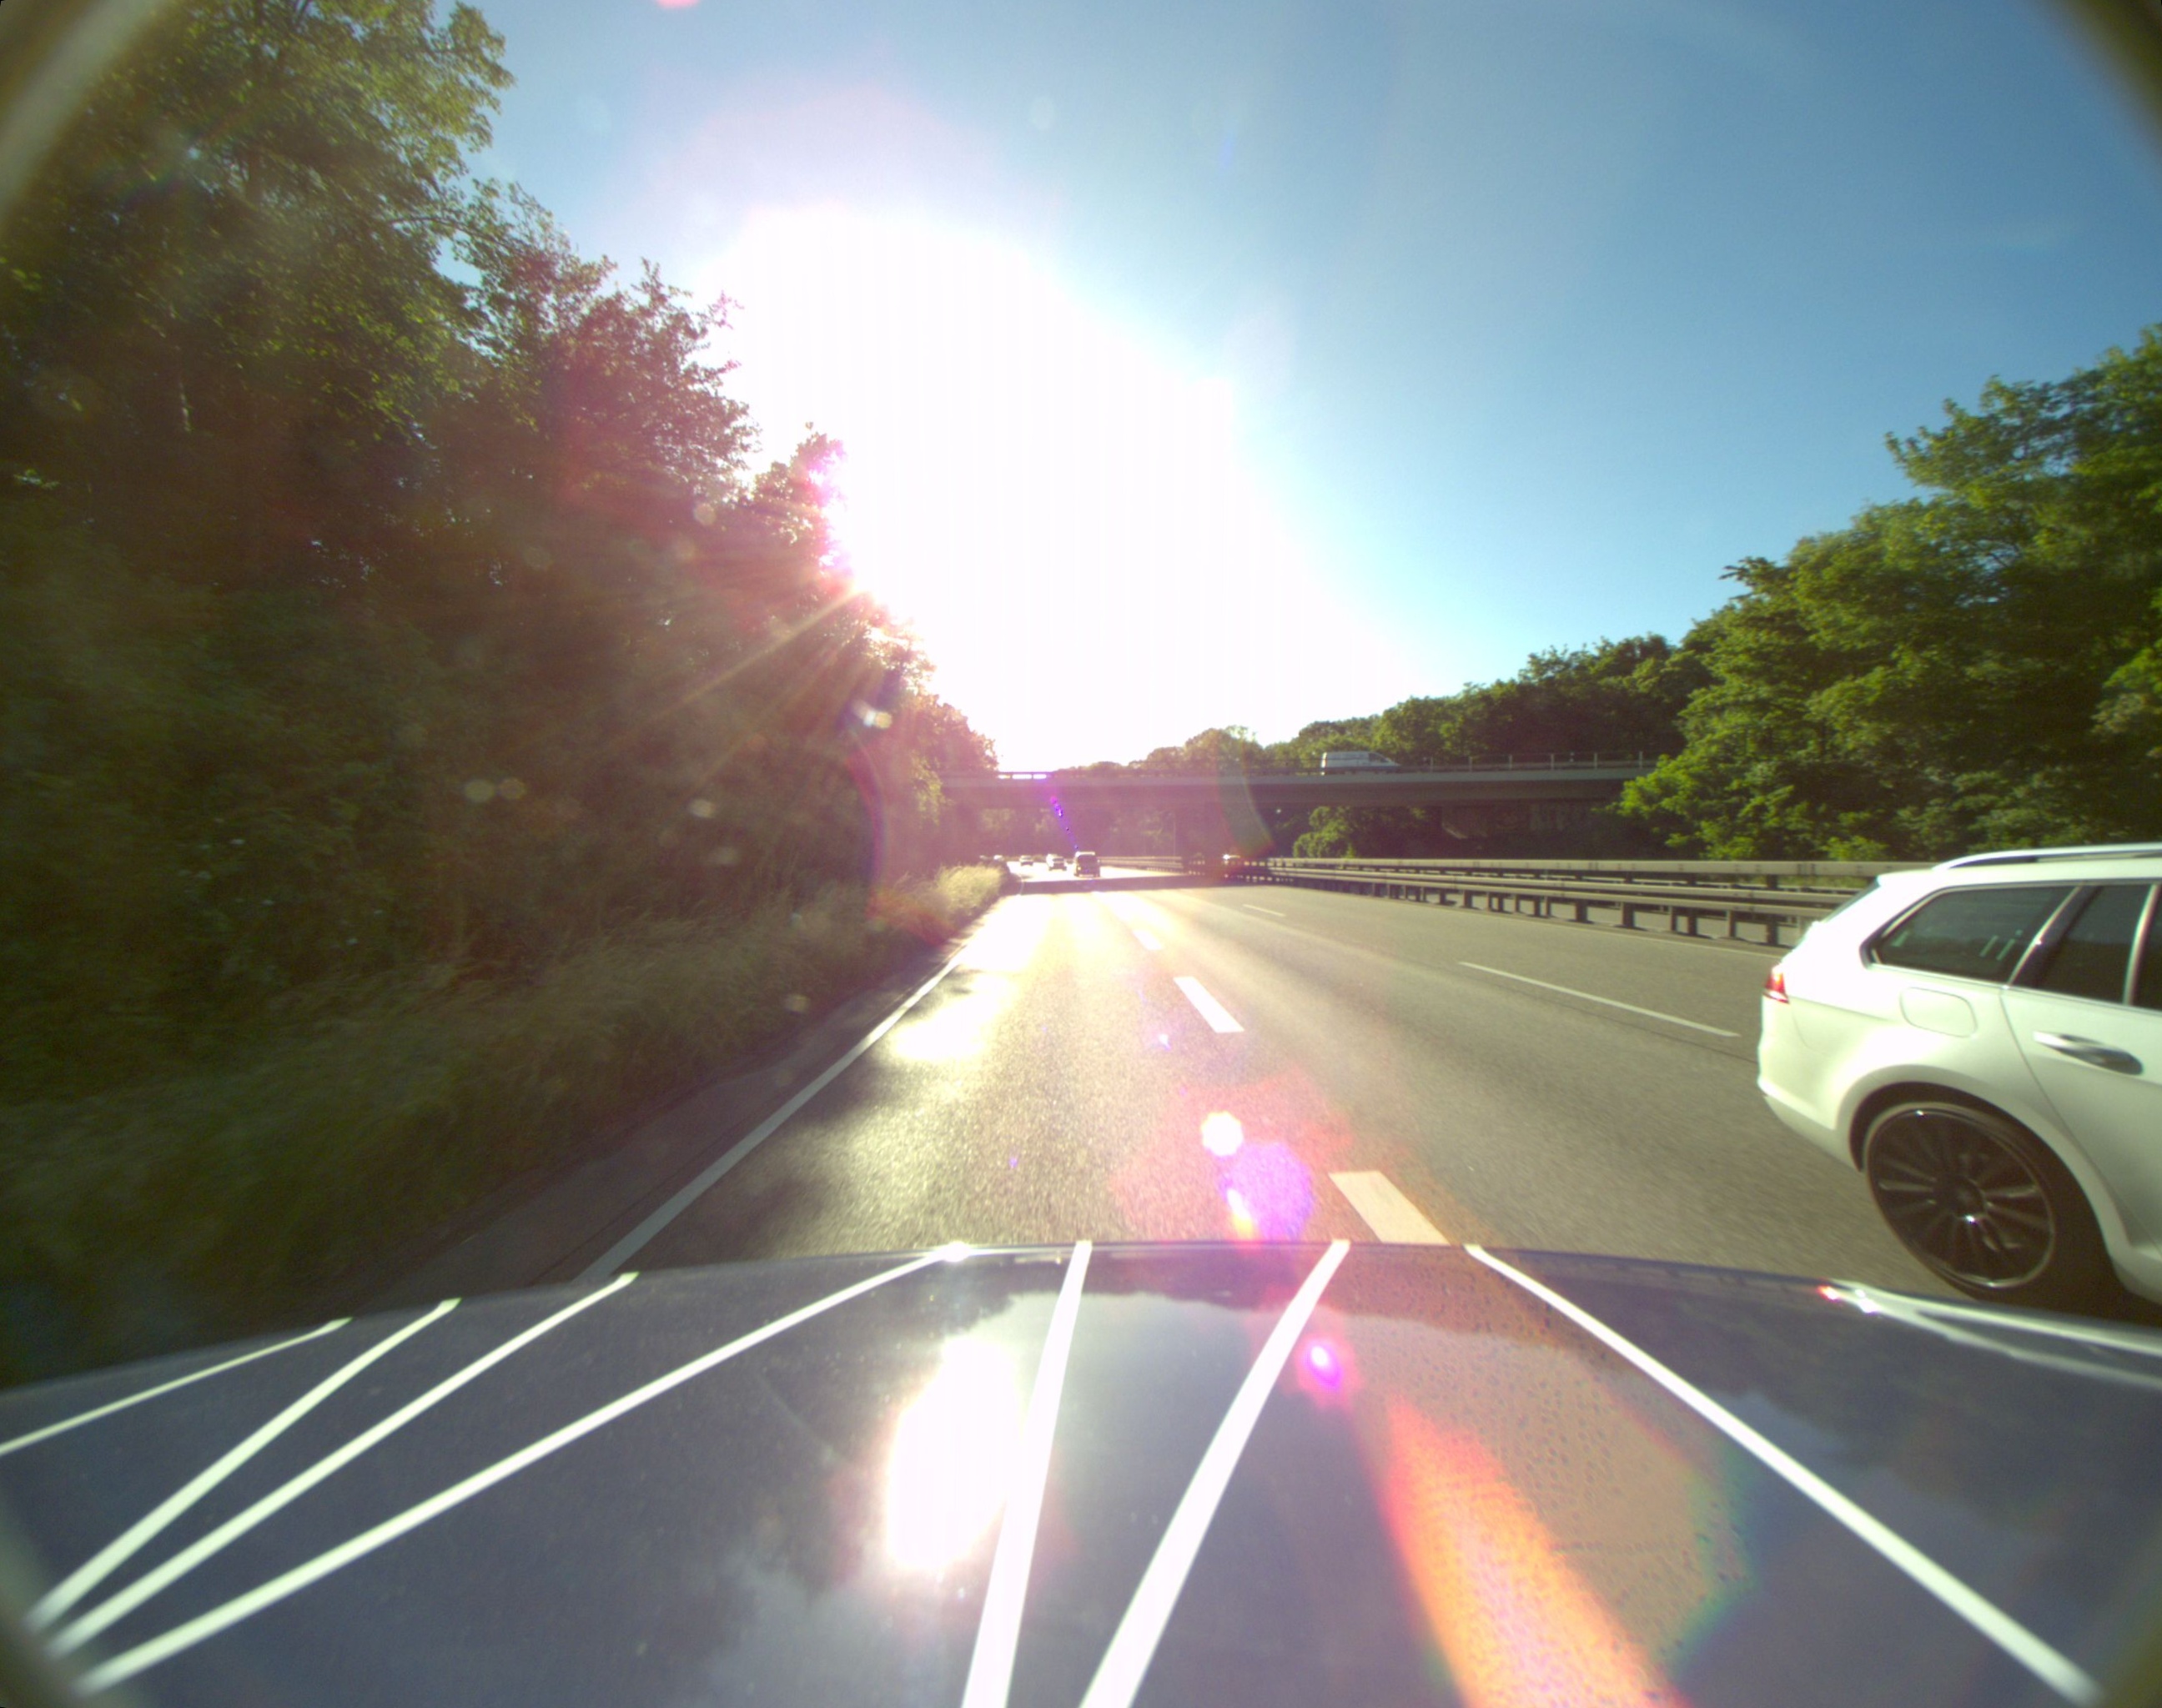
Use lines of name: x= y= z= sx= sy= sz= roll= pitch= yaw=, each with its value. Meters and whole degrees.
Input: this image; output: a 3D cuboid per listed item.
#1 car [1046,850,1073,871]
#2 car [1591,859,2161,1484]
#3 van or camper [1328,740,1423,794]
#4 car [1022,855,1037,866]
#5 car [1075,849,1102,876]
car: x=-2.281 y=0.670 z=79.595 sx=2.258 sy=1.843 sz=5.136 roll=-2 pitch=3 yaw=-7
car: x=3.682 y=0.822 z=1.266 sx=1.934 sy=1.499 sz=5.599 roll=-2 pitch=0 yaw=1
van or camper: x=18.955 y=-5.585 z=49.189 sx=5.451 sy=3.165 sz=2.000 roll=-1 pitch=5 yaw=11
car: x=-7.671 y=0.915 z=112.597 sx=1.935 sy=1.499 sz=5.082 roll=-1 pitch=1 yaw=-7
car: x=0.516 y=0.590 z=56.747 sx=1.800 sy=1.797 sz=4.831 roll=-2 pitch=1 yaw=-2
